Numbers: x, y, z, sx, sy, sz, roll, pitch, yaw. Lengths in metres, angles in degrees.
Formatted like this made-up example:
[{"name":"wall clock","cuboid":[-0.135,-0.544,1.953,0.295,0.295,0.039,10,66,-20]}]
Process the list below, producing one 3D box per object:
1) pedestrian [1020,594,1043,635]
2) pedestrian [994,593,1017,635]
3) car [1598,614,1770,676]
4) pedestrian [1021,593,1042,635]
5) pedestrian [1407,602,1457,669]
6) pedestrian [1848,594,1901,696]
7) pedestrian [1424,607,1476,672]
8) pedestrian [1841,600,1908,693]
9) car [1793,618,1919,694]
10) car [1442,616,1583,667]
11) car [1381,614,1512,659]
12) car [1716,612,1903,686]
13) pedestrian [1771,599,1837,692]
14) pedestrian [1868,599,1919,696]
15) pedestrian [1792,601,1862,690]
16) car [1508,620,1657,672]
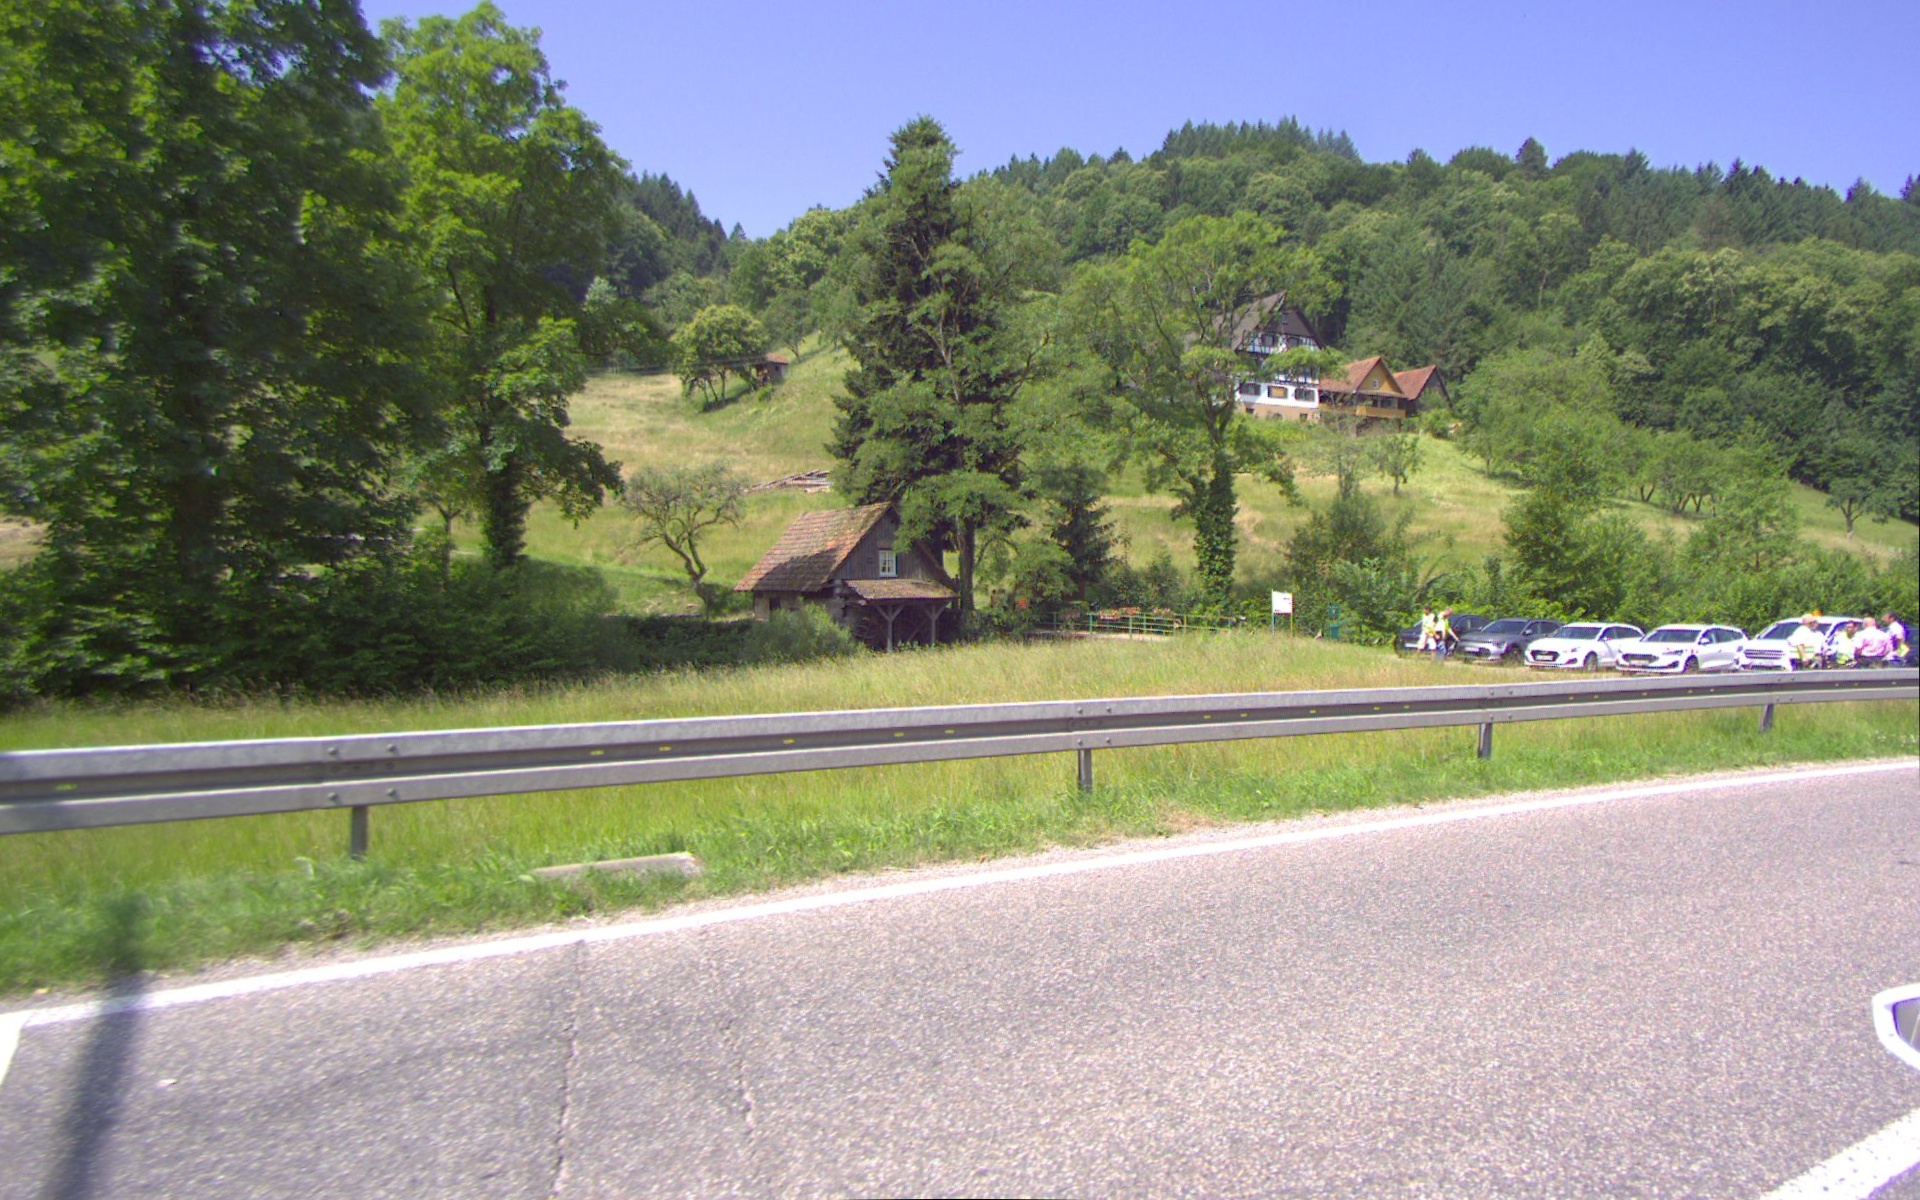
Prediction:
[{"name":"pedestrian","cuboid":[3.599,0.736,50.817,0.921,2.040,0.695,1,-1,-30]},{"name":"pedestrian","cuboid":[2.247,0.687,49.483,0.920,2.040,0.697,1,-1,-25]},{"name":"car","cuboid":[20.775,1.270,28.802,4.837,1.663,1.987,1,-1,-26]},{"name":"pedestrian","cuboid":[3.539,0.704,49.694,0.914,2.040,0.701,0,-1,17]},{"name":"pedestrian","cuboid":[14.239,1.063,30.324,0.846,1.995,1.127,1,-1,-11]},{"name":"pedestrian","cuboid":[18.039,0.876,19.821,0.528,1.980,0.656,1,-1,-36]},{"name":"pedestrian","cuboid":[14.084,1.134,28.868,0.988,1.818,0.949,1,-1,-30]},{"name":"pedestrian","cuboid":[18.740,0.939,20.589,0.755,1.864,0.649,0,-1,7]},{"name":"car","cuboid":[22.414,1.316,23.803,4.547,1.673,1.993,1,-2,-17]},{"name":"car","cuboid":[18.376,1.349,33.390,4.465,1.521,1.985,1,1,-29]},{"name":"car","cuboid":[17.272,1.286,35.617,4.465,1.520,1.985,1,-1,-29]},{"name":"car","cuboid":[22.391,1.246,26.466,4.704,1.806,1.867,1,0,-23]},{"name":"pedestrian","cuboid":[17.198,0.919,20.477,0.687,1.867,0.788,1,-1,-15]},{"name":"pedestrian","cuboid":[18.650,0.927,19.868,0.755,1.883,0.649,0,-1,8]},{"name":"pedestrian","cuboid":[17.970,0.937,20.835,0.778,1.820,0.771,0,-1,1]},{"name":"car","cuboid":[19.216,1.388,30.994,4.465,1.520,1.985,1,-1,-29]}]
